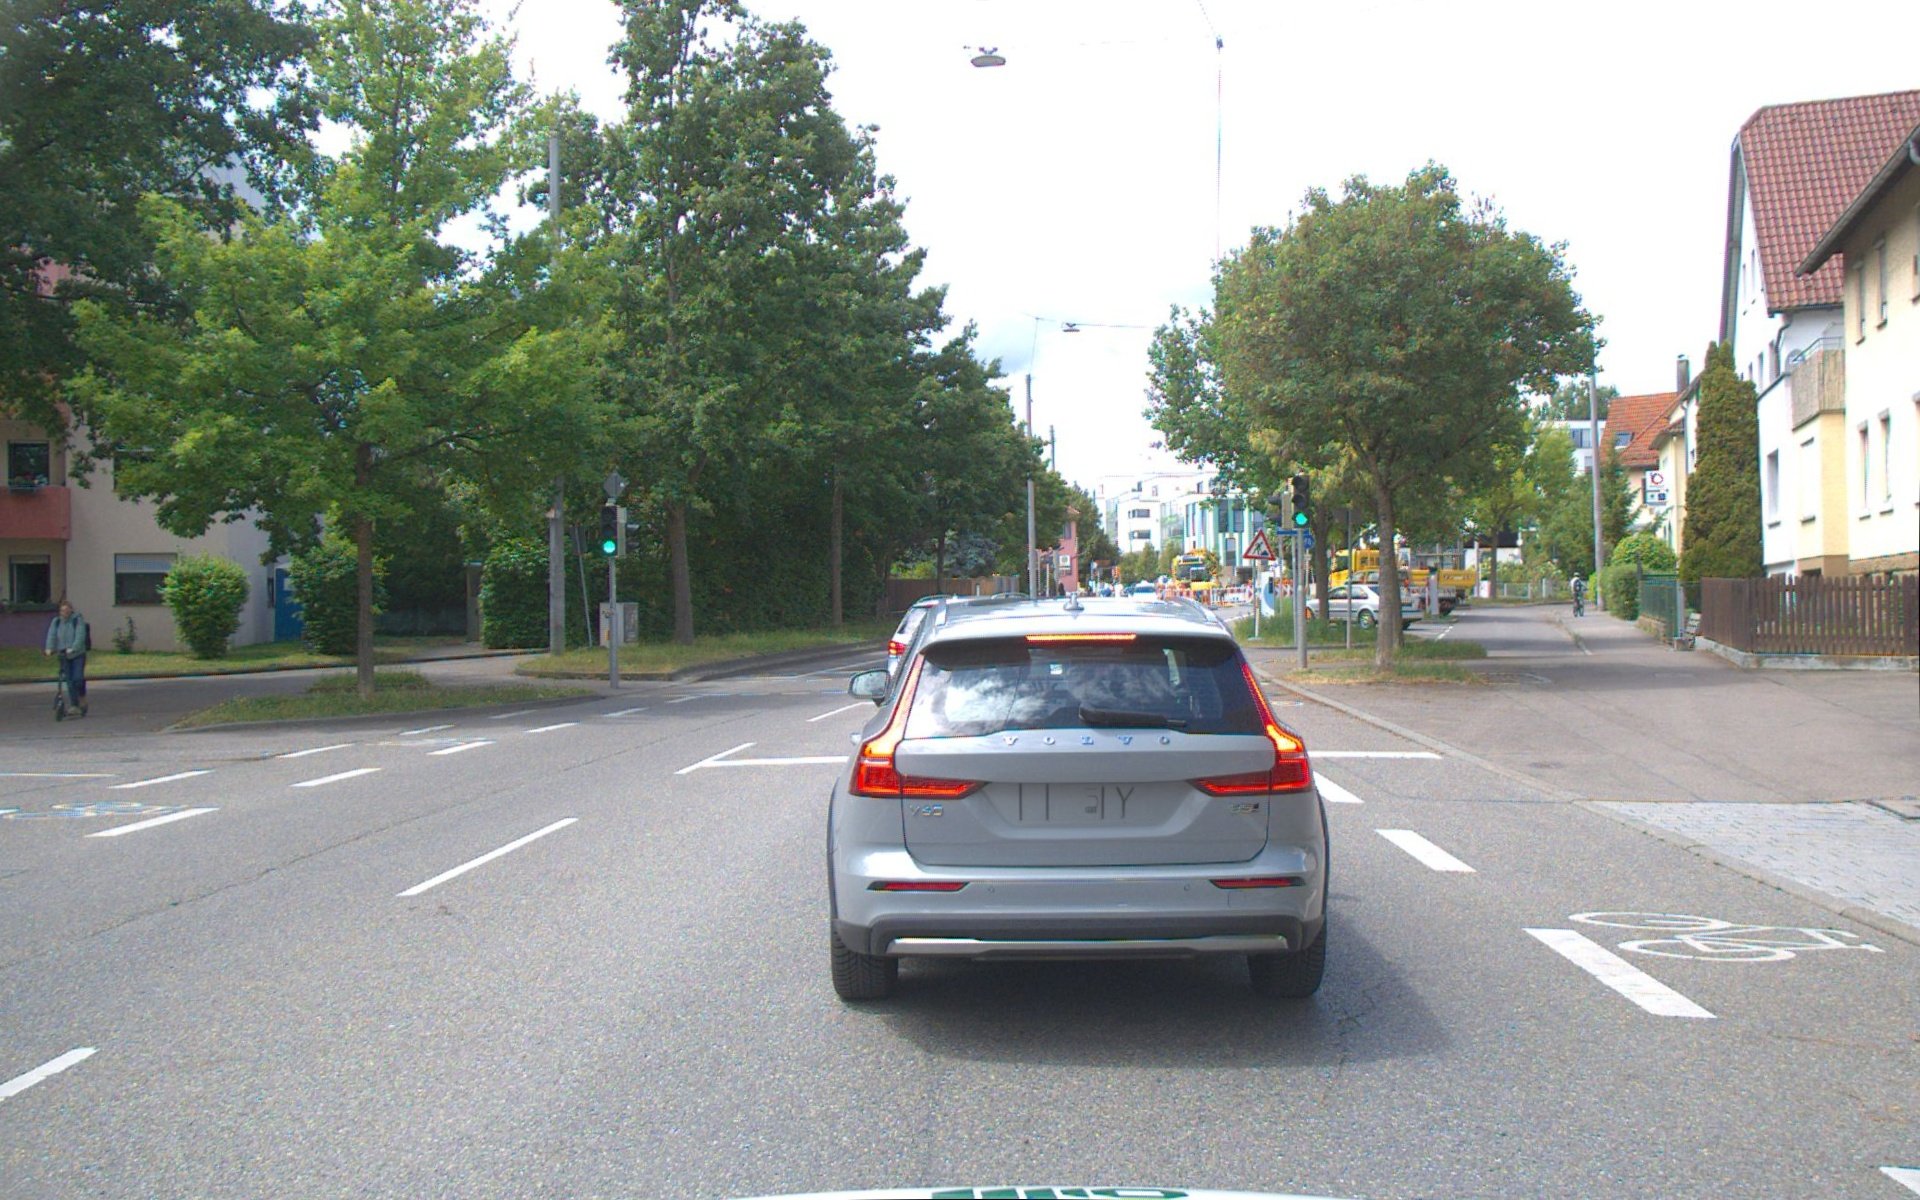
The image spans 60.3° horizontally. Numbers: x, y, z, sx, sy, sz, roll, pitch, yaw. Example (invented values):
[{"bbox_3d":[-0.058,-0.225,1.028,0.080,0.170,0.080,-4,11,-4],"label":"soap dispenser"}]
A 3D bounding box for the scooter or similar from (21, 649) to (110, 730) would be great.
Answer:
[{"bbox_3d":[-12.796,1.270,23.689,0.741,1.102,0.944,1,-1,-1],"label":"scooter or similar"}]

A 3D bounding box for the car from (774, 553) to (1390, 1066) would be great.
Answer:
[{"bbox_3d":[0.474,0.635,7.176,1.888,1.567,4.002,-1,1,3],"label":"car"}]

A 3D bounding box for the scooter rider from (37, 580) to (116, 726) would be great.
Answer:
[{"bbox_3d":[-12.689,0.749,23.766,0.663,2.049,0.794,1,-1,-1],"label":"scooter rider"}]

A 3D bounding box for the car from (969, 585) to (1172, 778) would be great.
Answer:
[{"bbox_3d":[0.972,0.679,15.402,1.627,1.534,3.703,2,0,2],"label":"car"}]

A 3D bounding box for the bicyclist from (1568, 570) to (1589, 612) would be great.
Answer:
[{"bbox_3d":[23.694,-0.326,63.379,0.577,1.586,0.566,1,-1,-2],"label":"bicyclist"}]

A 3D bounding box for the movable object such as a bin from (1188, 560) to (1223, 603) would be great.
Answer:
[{"bbox_3d":[16.287,-1.206,109.382,1.991,2.689,5.945,-2,0,11],"label":"movable object such as a bin"}]

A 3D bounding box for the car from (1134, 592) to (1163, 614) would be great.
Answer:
[{"bbox_3d":[12.810,0.190,112.232,1.789,1.353,4.003,1,-2,9],"label":"car"}]

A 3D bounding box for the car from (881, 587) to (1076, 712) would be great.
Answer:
[{"bbox_3d":[0.367,0.641,22.837,2.057,1.536,4.003,1,-1,10],"label":"car"}]

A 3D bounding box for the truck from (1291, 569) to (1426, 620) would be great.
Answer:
[{"bbox_3d":[16.605,-0.236,69.230,1.977,2.049,5.608,2,-1,-35],"label":"truck"}]

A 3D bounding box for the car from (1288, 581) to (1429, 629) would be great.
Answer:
[{"bbox_3d":[13.039,0.143,54.405,1.745,1.477,4.638,-1,1,-32],"label":"car"}]

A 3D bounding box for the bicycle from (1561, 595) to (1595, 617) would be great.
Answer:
[{"bbox_3d":[23.676,0.236,63.367,0.582,0.826,1.753,1,0,-1],"label":"bicycle"}]

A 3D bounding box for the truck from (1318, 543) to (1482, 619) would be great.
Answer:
[{"bbox_3d":[18.761,-0.789,70.873,2.737,3.061,6.626,2,-1,-34],"label":"truck"}]
